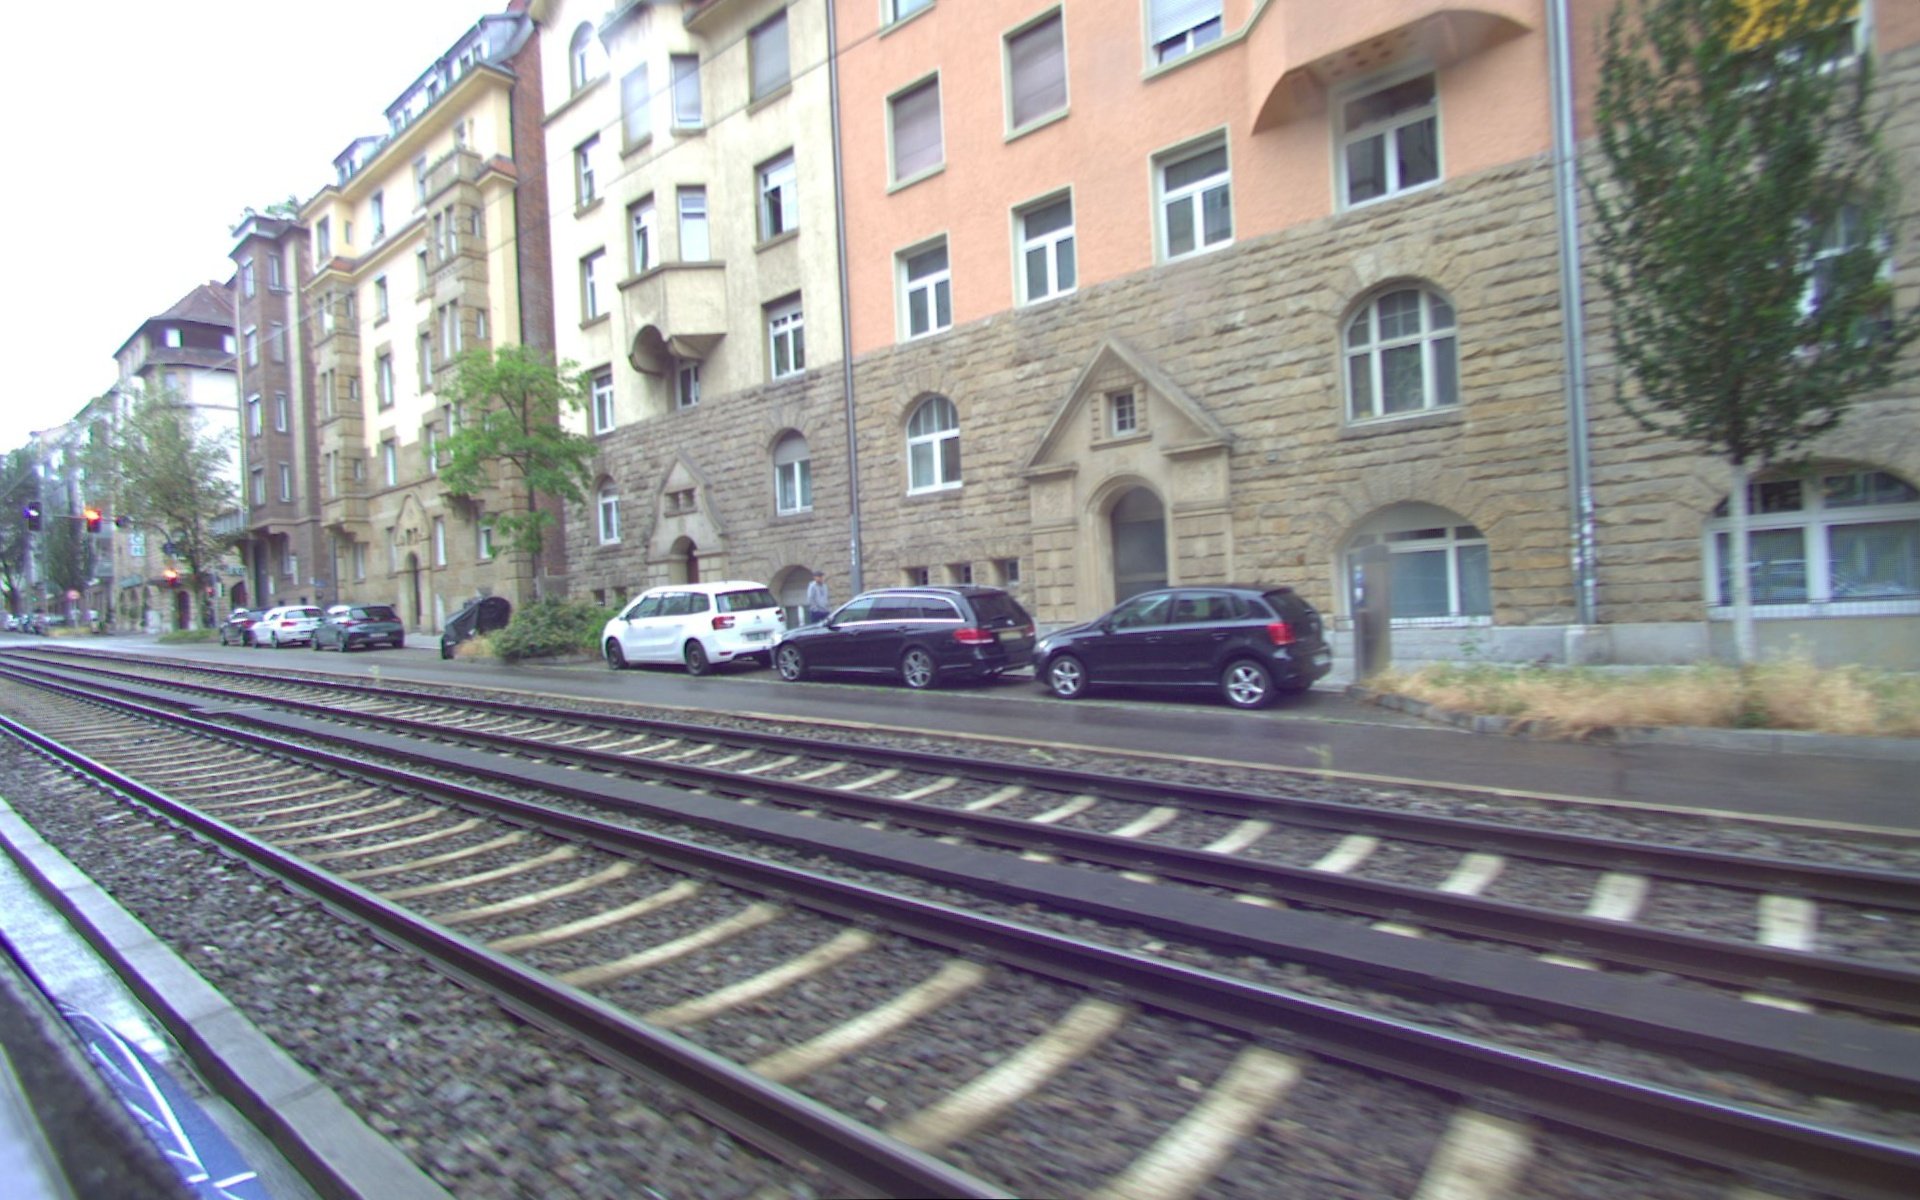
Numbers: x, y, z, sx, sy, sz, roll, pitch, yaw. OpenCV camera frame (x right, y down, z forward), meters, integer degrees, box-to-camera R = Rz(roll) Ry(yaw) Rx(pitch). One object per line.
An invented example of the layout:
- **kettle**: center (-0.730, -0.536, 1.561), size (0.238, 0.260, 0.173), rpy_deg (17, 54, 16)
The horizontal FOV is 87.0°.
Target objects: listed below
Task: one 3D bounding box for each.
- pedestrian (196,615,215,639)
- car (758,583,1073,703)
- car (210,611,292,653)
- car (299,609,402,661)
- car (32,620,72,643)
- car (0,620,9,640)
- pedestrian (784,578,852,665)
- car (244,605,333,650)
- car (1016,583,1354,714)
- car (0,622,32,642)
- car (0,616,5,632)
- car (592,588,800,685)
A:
- **pedestrian**: center (-47.228, 1.681, 63.379), size (0.721, 1.426, 0.808), rpy_deg (-1, 2, 45)
- **car**: center (-0.842, 0.611, 16.025), size (4.973, 1.520, 1.973), rpy_deg (-1, 2, 42)
- **car**: center (-27.773, 1.211, 39.625), size (3.999, 1.497, 1.746), rpy_deg (0, 1, 42)
- **car**: center (-19.411, 1.065, 32.163), size (4.144, 1.448, 1.545), rpy_deg (-1, 2, 41)
- **car**: center (-65.578, 2.250, 73.061), size (3.525, 1.509, 1.788), rpy_deg (-2, 0, 42)
- **car**: center (-85.251, 2.652, 89.163), size (4.157, 1.581, 1.758), rpy_deg (1, 2, 41)
- **pedestrian**: center (-2.978, 0.437, 21.231), size (0.923, 1.766, 0.997), rpy_deg (-2, 1, 38)
- **car**: center (-23.982, 0.953, 36.068), size (4.262, 1.436, 1.649), rpy_deg (-1, 1, 42)
- **car**: center (2.790, 0.563, 12.962), size (3.879, 1.408, 1.626), rpy_deg (-1, 1, 38)
- **car**: center (-76.491, 2.571, 81.770), size (4.128, 1.345, 1.685), rpy_deg (0, 3, 41)
- **car**: center (-90.443, 2.242, 94.097), size (4.465, 1.451, 1.887), rpy_deg (-1, 1, 40)
- **car**: center (-5.203, 0.656, 19.610), size (4.350, 1.601, 1.766), rpy_deg (-1, 2, 43)
